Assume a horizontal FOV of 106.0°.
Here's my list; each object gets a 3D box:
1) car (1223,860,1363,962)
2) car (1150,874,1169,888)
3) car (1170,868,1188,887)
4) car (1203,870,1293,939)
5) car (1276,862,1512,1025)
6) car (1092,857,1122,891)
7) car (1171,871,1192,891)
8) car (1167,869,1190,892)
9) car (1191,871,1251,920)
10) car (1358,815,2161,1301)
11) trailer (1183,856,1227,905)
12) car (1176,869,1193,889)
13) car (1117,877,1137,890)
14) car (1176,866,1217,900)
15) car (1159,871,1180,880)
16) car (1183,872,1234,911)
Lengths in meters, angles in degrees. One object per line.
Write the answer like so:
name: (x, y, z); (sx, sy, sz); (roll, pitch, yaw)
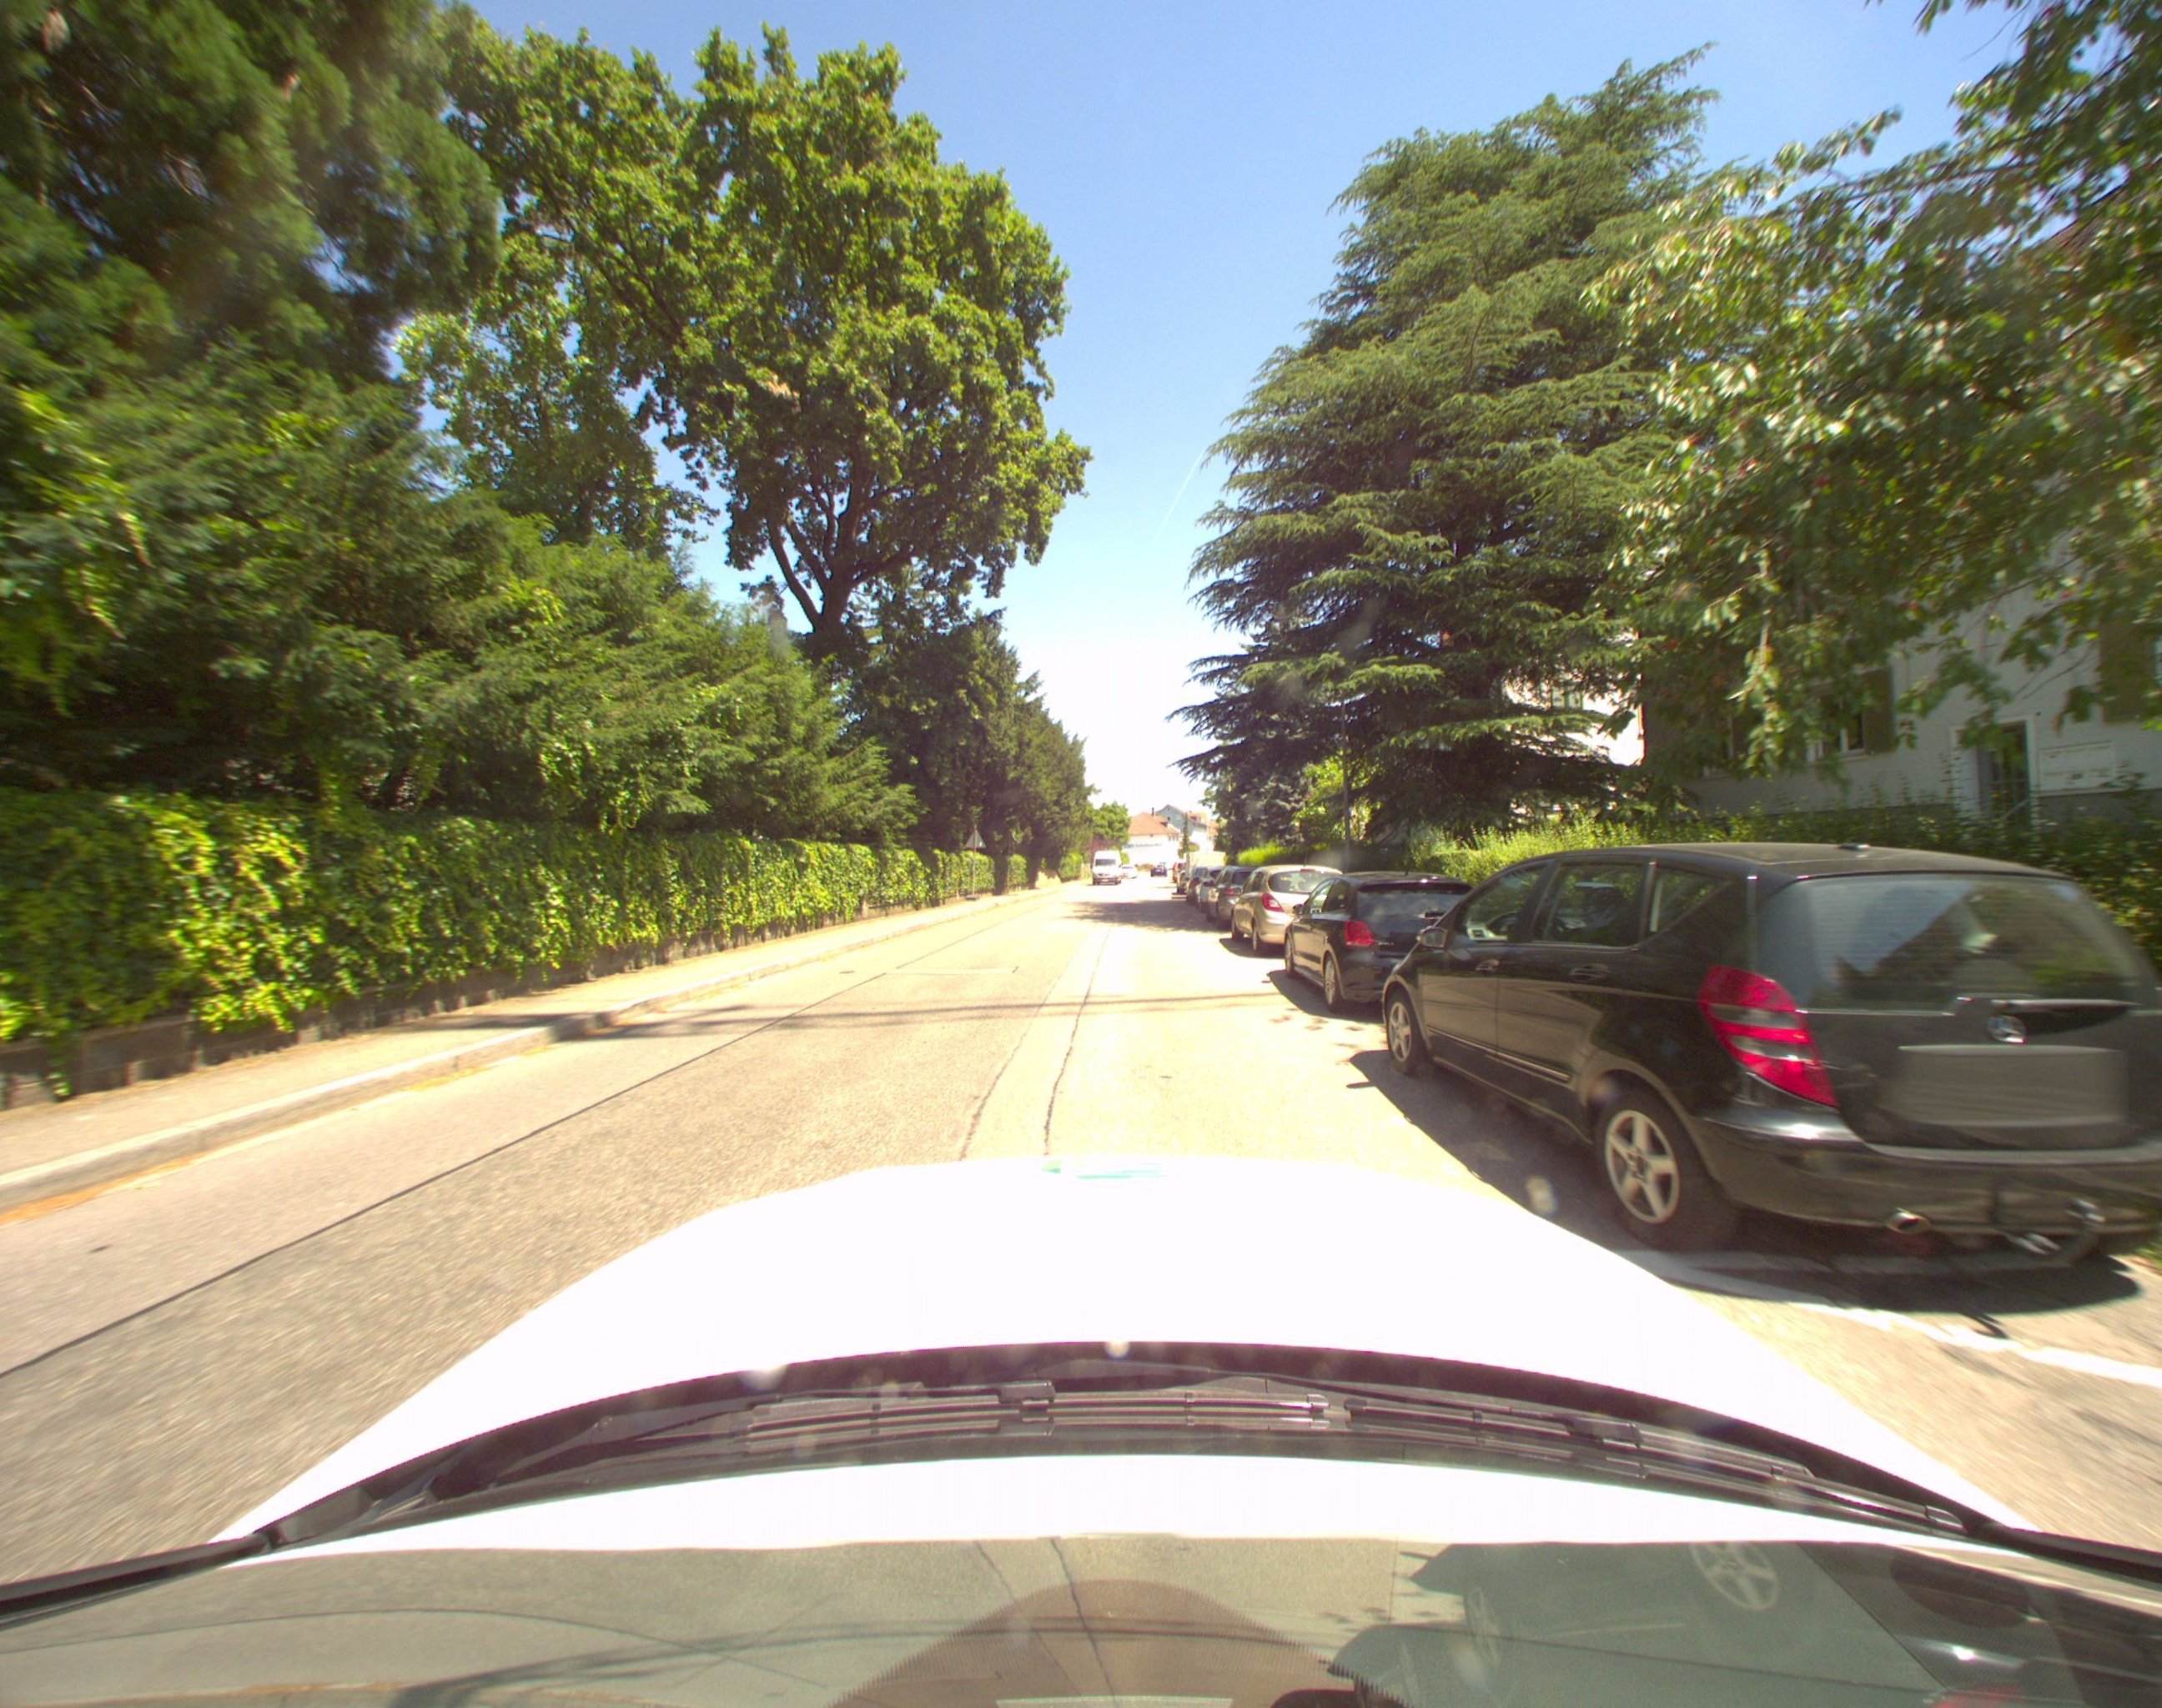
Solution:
car: (3.640, 0.959, 14.670); (1.608, 1.513, 4.066); (2, -2, 3)
car: (9.159, 3.121, 94.847); (1.783, 1.511, 4.010); (1, -3, 10)
car: (10.703, 2.581, 89.150); (1.893, 1.925, 4.727); (-1, -2, 7)
car: (3.972, 1.140, 19.965); (1.607, 1.451, 4.379); (2, -1, 4)
car: (3.374, 0.862, 9.555); (1.573, 1.443, 4.014); (2, -1, 6)
car: (2.093, 1.616, 63.823); (1.984, 2.533, 5.901); (0, -2, 5)
car: (9.359, 2.518, 75.672); (1.893, 1.728, 4.399); (0, -2, 7)
car: (7.793, 2.095, 65.430); (1.737, 1.782, 4.550); (0, -2, 6)
car: (4.493, 1.299, 26.554); (1.607, 1.469, 4.069); (-1, -2, 5)
car: (2.990, 0.710, 4.671); (1.575, 1.576, 4.010); (0, -1, 2)
trailer: (5.549, 1.182, 36.724); (1.672, 2.068, 3.711); (0, -1, 4)
car: (7.770, 1.881, 61.043); (1.253, 1.496, 2.714); (0, -2, 8)
car: (5.026, 3.190, 88.417); (1.854, 1.383, 4.613); (-1, -1, 7)
car: (5.813, 1.432, 41.340); (1.764, 1.632, 4.608); (0, -1, 4)
car: (18.644, 4.563, 171.162); (4.102, 1.774, 1.834); (-1, -1, 11)
car: (4.806, 1.421, 31.124); (1.607, 1.396, 4.263); (0, -2, 5)
